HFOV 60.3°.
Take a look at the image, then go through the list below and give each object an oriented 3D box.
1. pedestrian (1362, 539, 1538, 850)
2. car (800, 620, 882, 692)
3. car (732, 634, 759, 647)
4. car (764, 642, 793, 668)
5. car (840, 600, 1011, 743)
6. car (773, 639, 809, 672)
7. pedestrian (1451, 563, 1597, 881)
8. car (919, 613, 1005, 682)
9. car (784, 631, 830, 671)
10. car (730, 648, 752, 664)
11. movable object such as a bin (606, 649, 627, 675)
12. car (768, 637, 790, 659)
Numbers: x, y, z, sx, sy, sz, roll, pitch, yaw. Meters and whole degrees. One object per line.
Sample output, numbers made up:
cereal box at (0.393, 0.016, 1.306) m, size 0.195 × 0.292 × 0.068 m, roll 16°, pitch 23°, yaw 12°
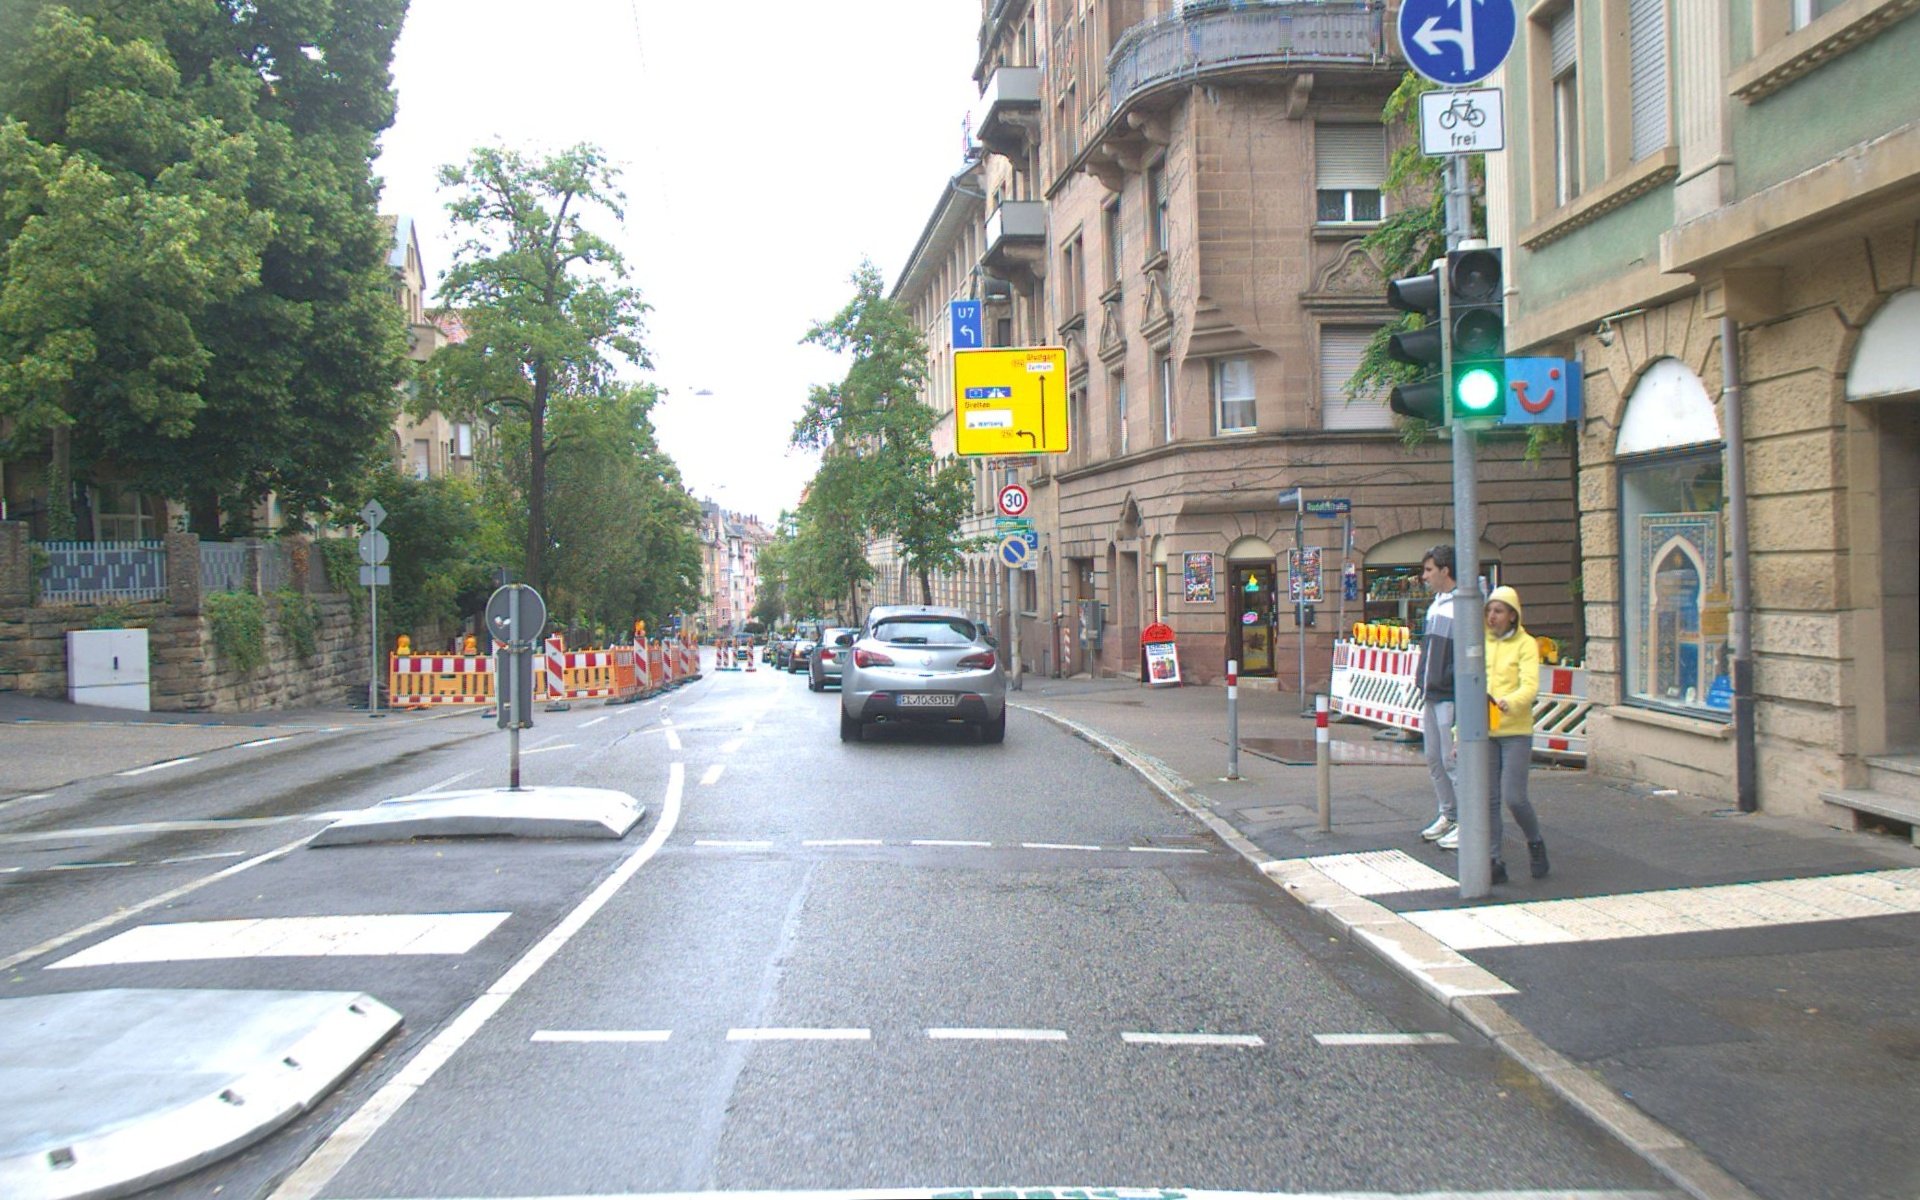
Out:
pedestrian at (3.000, 0.556, 10.133) m, size 0.660 × 1.805 × 0.709 m, roll -3°, pitch 0°, yaw -43°
car at (-2.719, 1.244, 37.336) m, size 1.737 × 1.531 × 3.864 m, roll 0°, pitch -1°, yaw -5°
car at (-31.465, 5.896, 242.434) m, size 3.912 × 1.781 × 1.996 m, roll 1°, pitch -2°, yaw -8°
car at (-11.609, 3.518, 105.733) m, size 1.626 × 1.570 × 3.658 m, roll -3°, pitch -1°, yaw -8°
car at (-0.439, 0.787, 19.192) m, size 1.775 × 1.475 × 3.866 m, roll 0°, pitch -1°, yaw -3°
car at (-8.858, 2.919, 86.475) m, size 1.626 × 1.570 × 3.658 m, roll -3°, pitch -1°, yaw -8°
pedestrian at (2.997, 0.628, 8.840) m, size 0.584 × 1.612 × 0.666 m, roll -3°, pitch 0°, yaw 13°
car at (0.010, 1.213, 42.208) m, size 1.626 × 1.570 × 3.658 m, roll -3°, pitch -1°, yaw -8°
car at (-6.661, 2.210, 71.757) m, size 1.627 × 1.570 × 3.656 m, roll -3°, pitch -2°, yaw -10°
car at (-21.345, 5.435, 160.972) m, size 1.957 × 1.527 × 3.990 m, roll -1°, pitch -2°, yaw -10°
movable object such as a bin at (-16.628, 3.016, 80.054) m, size 0.926 × 1.235 × 0.855 m, roll 0°, pitch -2°, yaw -7°
car at (-16.033, 4.266, 146.214) m, size 1.683 × 1.813 × 3.658 m, roll -4°, pitch -1°, yaw -8°
